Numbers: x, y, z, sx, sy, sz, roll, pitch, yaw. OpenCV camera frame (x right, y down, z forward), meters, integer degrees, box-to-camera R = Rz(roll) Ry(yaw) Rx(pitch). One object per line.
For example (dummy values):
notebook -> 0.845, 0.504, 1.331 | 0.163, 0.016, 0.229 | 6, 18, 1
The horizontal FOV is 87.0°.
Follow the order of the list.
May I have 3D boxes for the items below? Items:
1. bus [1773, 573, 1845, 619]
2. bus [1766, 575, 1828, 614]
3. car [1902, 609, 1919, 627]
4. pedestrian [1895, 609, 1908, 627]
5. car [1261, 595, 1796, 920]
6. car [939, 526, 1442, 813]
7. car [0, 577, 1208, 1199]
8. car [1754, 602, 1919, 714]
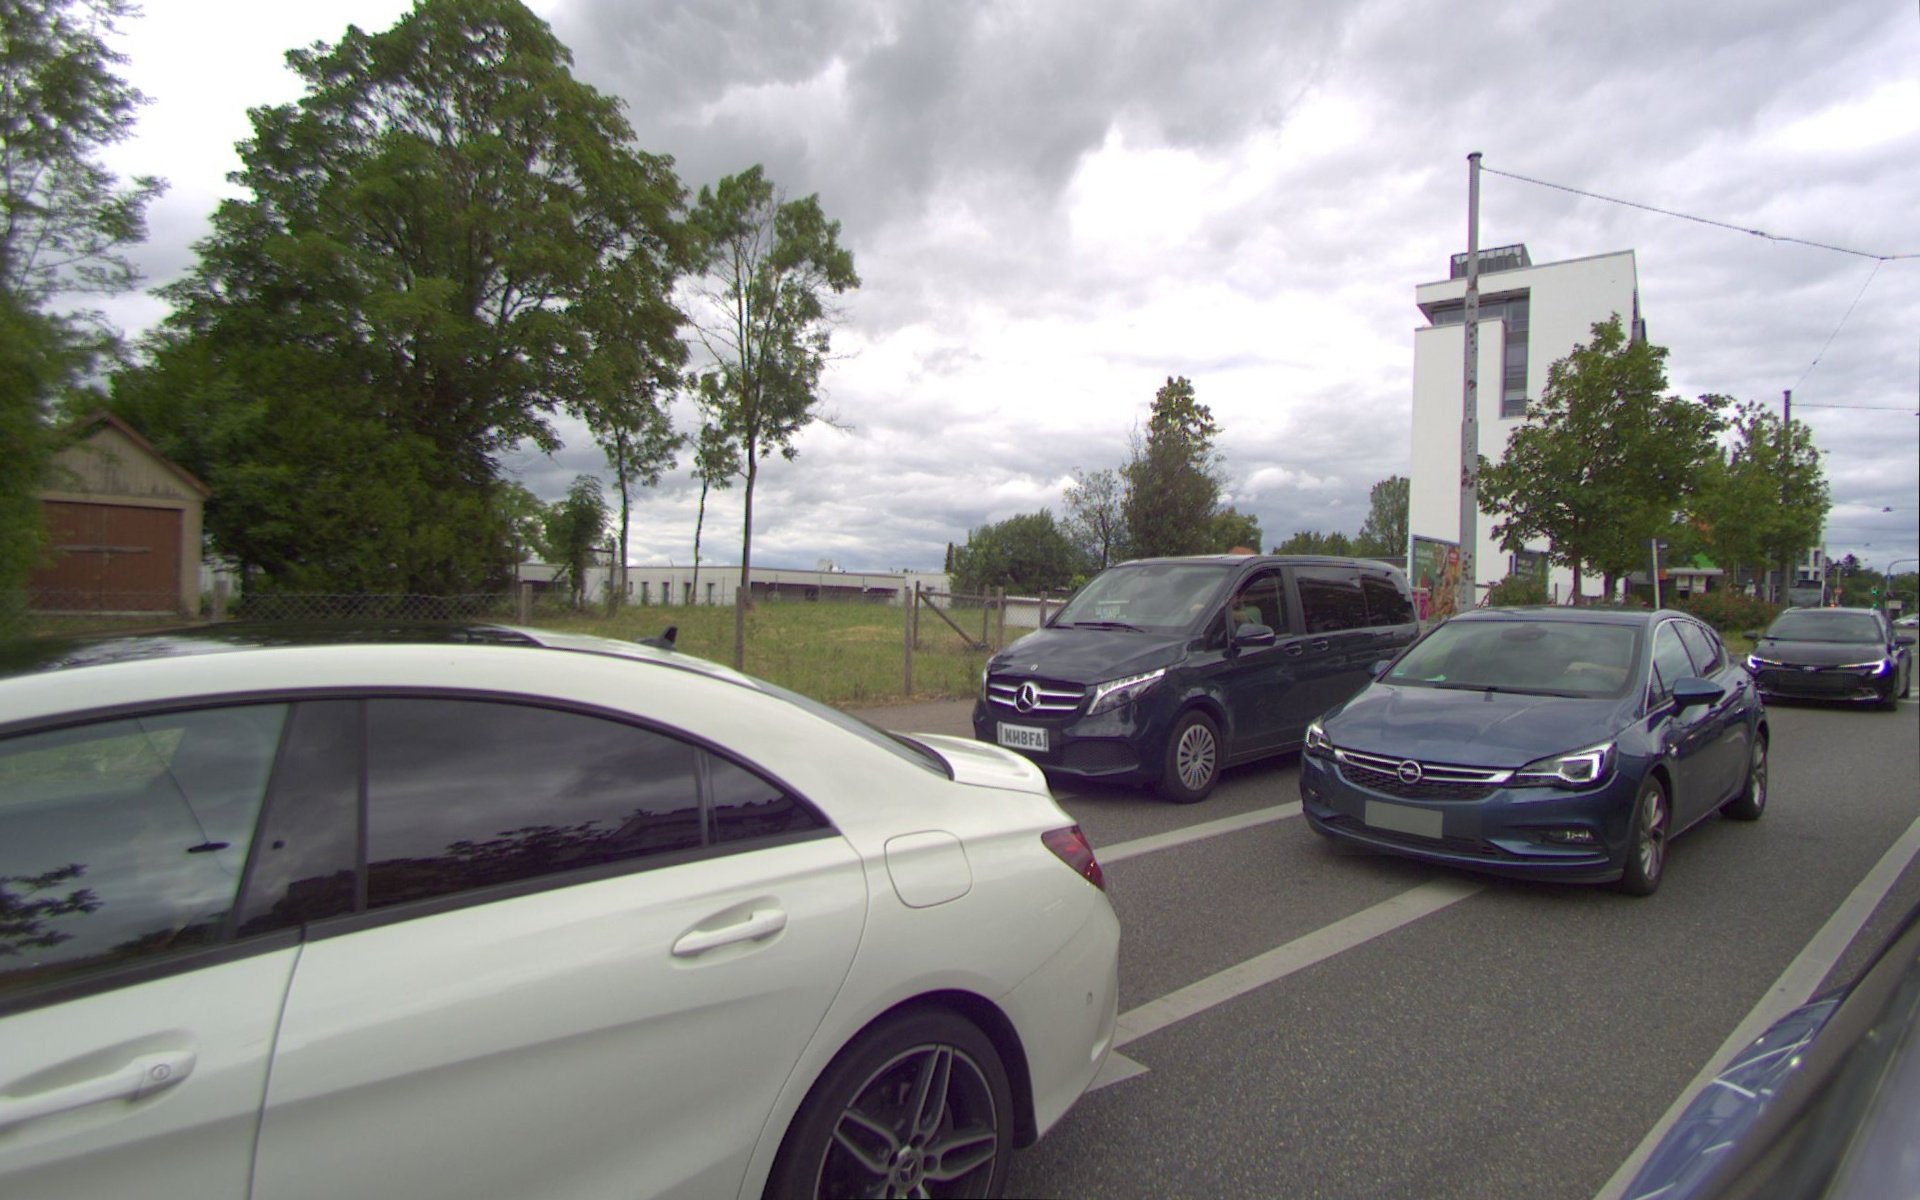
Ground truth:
bus -> 53.961, -0.307, 64.568 | 2.952, 2.664, 11.986 | 0, 1, 37
bus -> 61.428, -0.440, 74.467 | 2.952, 2.664, 12.751 | 0, 1, 37
car -> 88.836, 1.607, 92.318 | 3.735, 1.637, 1.841 | -1, -1, 20
pedestrian -> 106.348, 2.039, 114.295 | 0.969, 2.039, 0.979 | 0, 0, 36
car -> 3.799, 0.688, 6.469 | 3.931, 1.428, 1.825 | 0, 0, -42
car -> 2.209, 0.451, 8.860 | 4.627, 1.863, 1.952 | 0, -1, -41
car -> -1.536, 0.696, 1.813 | 4.300, 1.451, 1.652 | 0, 1, -41
car -> 13.519, 0.775, 15.442 | 3.855, 1.475, 1.662 | 0, 0, -43
